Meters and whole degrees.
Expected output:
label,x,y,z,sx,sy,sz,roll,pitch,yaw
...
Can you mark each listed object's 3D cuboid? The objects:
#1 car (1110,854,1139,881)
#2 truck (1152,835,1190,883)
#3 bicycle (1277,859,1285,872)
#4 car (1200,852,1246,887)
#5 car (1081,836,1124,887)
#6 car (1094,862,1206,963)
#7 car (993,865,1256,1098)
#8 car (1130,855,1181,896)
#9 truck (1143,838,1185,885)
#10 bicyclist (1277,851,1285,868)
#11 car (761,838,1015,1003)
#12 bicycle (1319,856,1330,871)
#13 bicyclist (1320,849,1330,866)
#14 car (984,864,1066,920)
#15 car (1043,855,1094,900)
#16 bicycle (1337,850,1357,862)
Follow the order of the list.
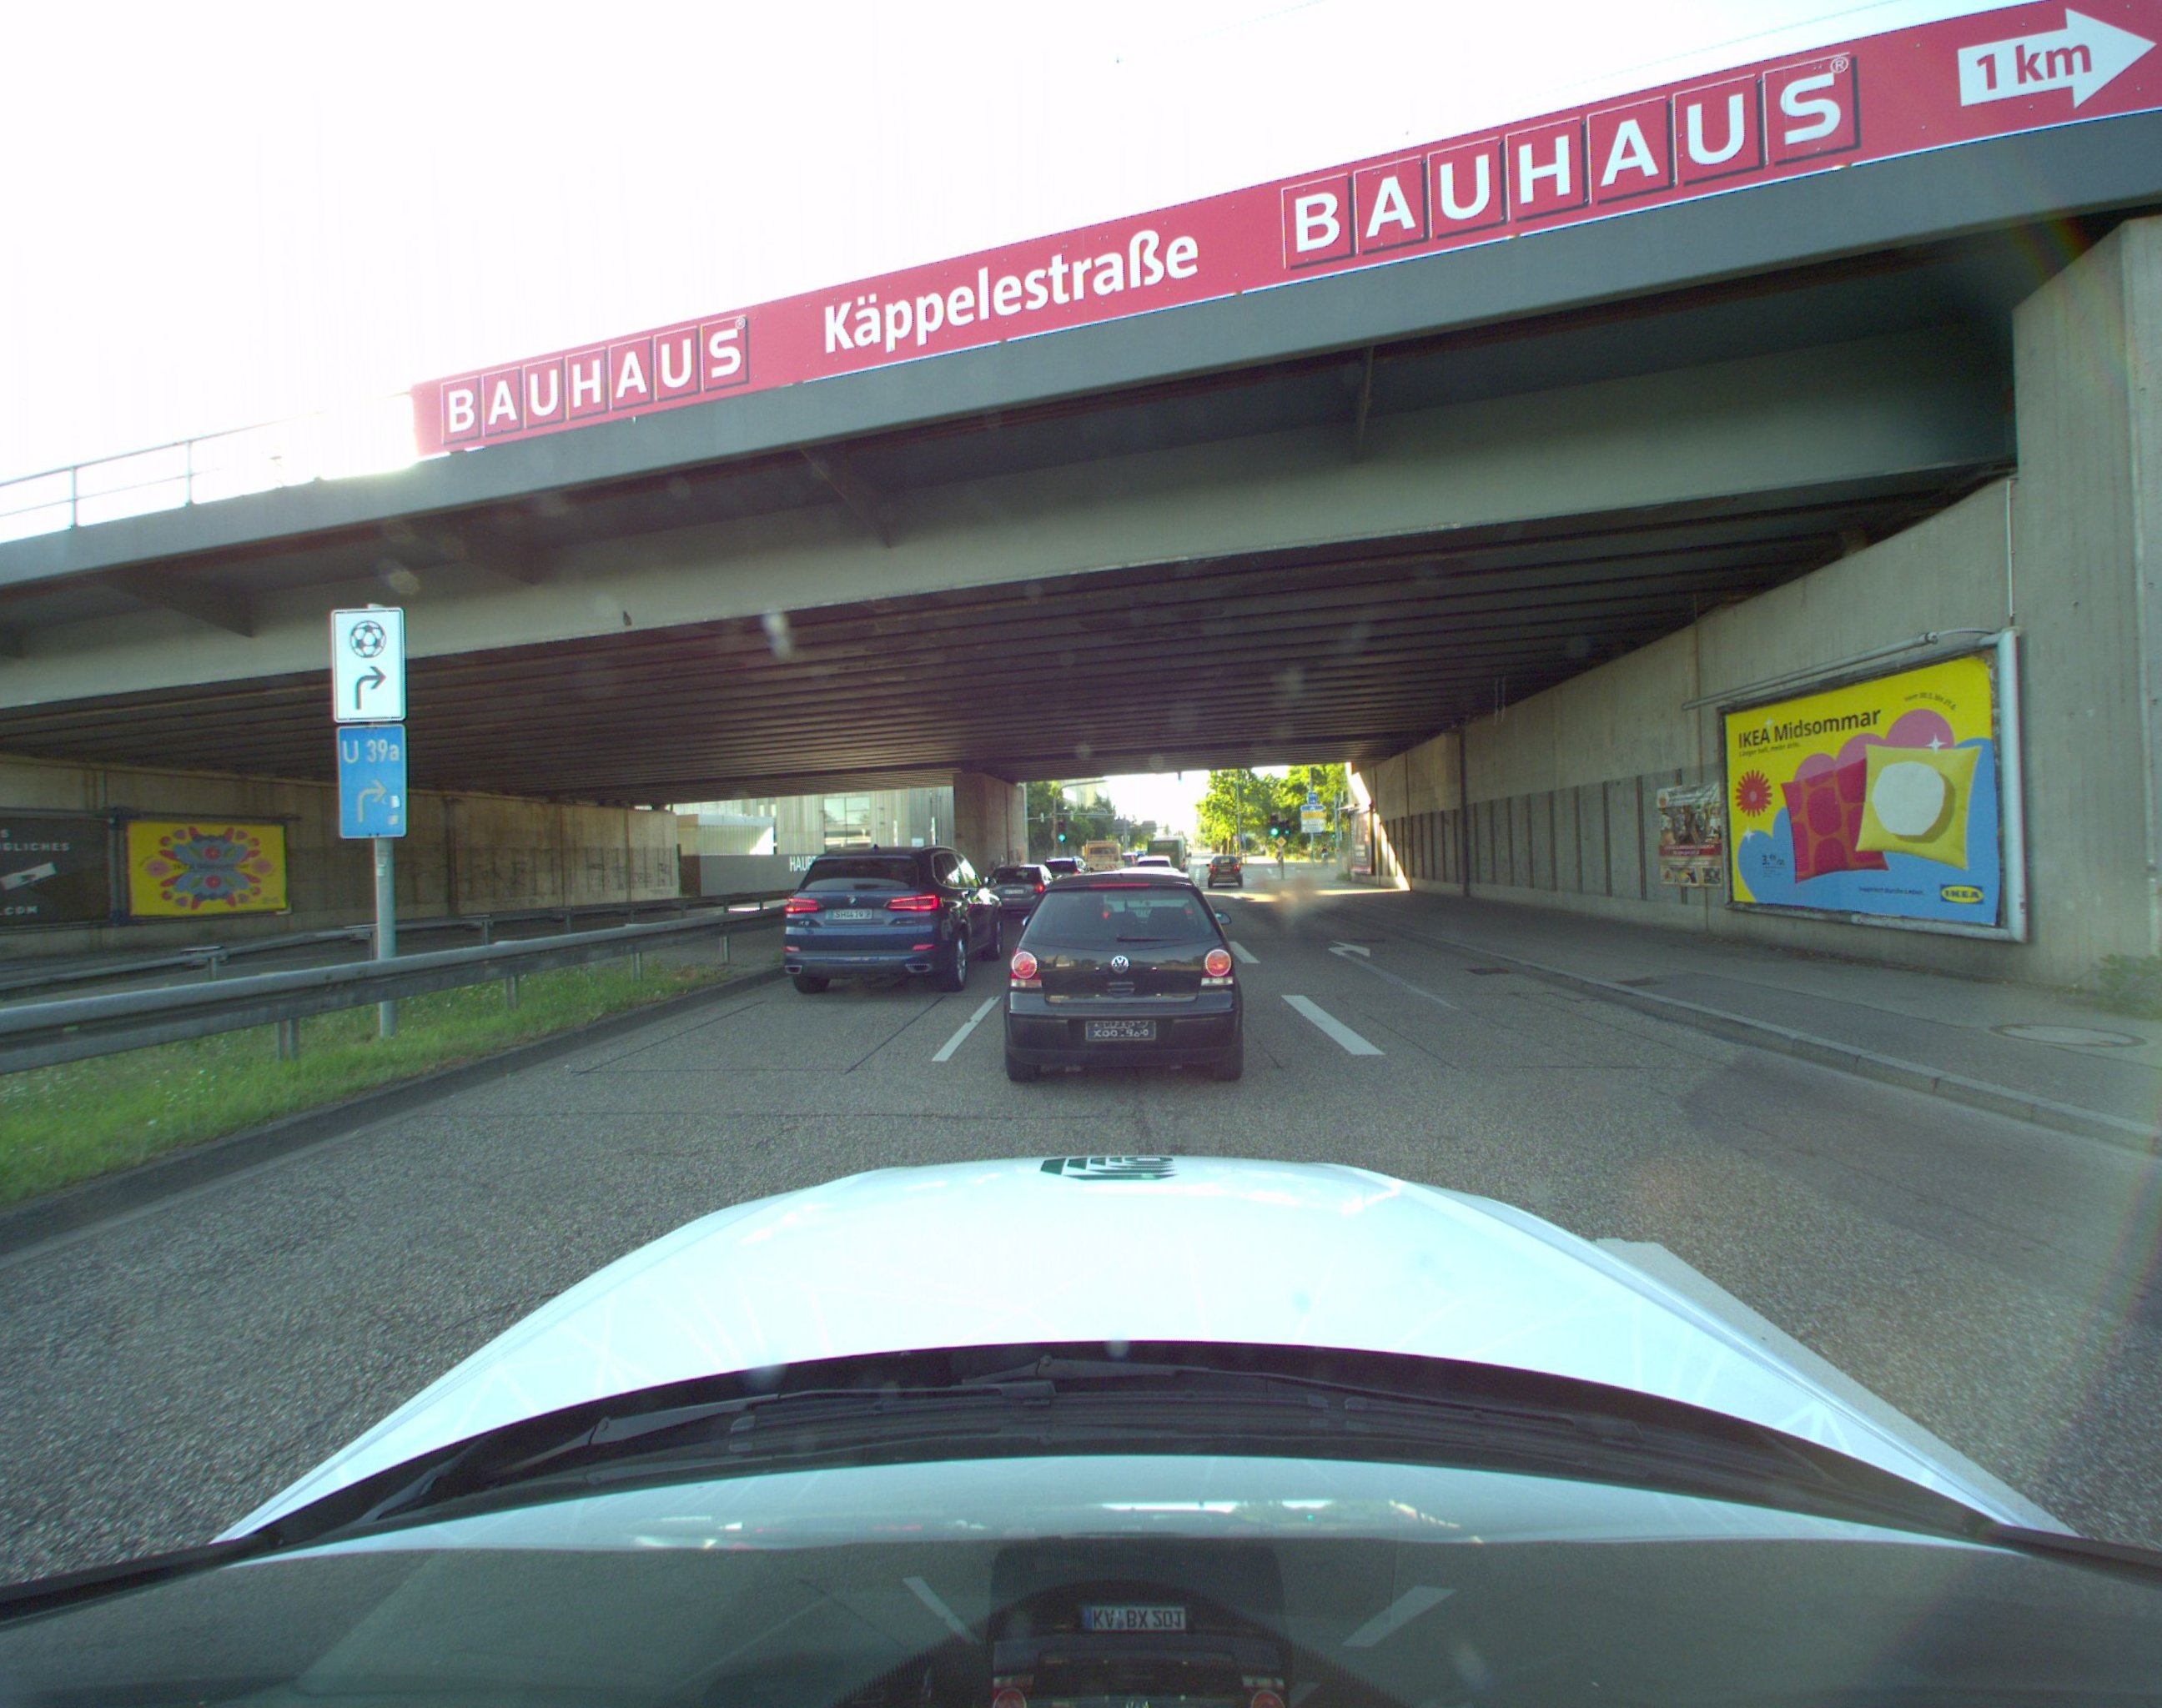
label,x,y,z,sx,sy,sz,roll,pitch,yaw
car,2.942,0.891,54.560,1.608,1.679,3.690,-1,-1,7
truck,5.253,0.312,47.151,1.984,2.669,4.009,-1,-1,8
bicycle,14.782,0.829,60.157,0.435,0.914,1.029,-3,-1,9
car,6.915,0.733,40.000,1.729,1.630,4.065,0,-1,3
car,1.233,0.398,43.792,2.127,2.576,5.091,0,-1,4
car,1.094,0.852,13.589,1.572,1.413,4.065,0,-1,3
car,0.296,0.813,6.865,1.611,1.410,3.683,0,-1,1
car,3.050,0.837,32.652,1.786,1.559,4.009,-1,-1,8
truck,4.343,0.377,42.091,1.984,2.315,4.009,-1,-1,8
bicyclist,14.765,0.424,60.128,0.425,1.233,0.461,-2,-1,8
car,-2.244,0.732,10.890,1.984,1.734,4.538,0,-1,4
bicycle,18.417,0.723,61.493,0.561,1.112,1.625,-1,-1,8
bicyclist,18.440,0.260,61.579,0.540,1.316,0.837,-1,-1,8
car,-1.457,0.986,22.590,1.608,1.410,3.690,-1,-1,7
car,-0.432,0.892,31.935,1.609,1.679,3.687,0,-1,5
bicycle,25.059,0.162,76.637,1.647,0.991,0.581,-3,2,25
